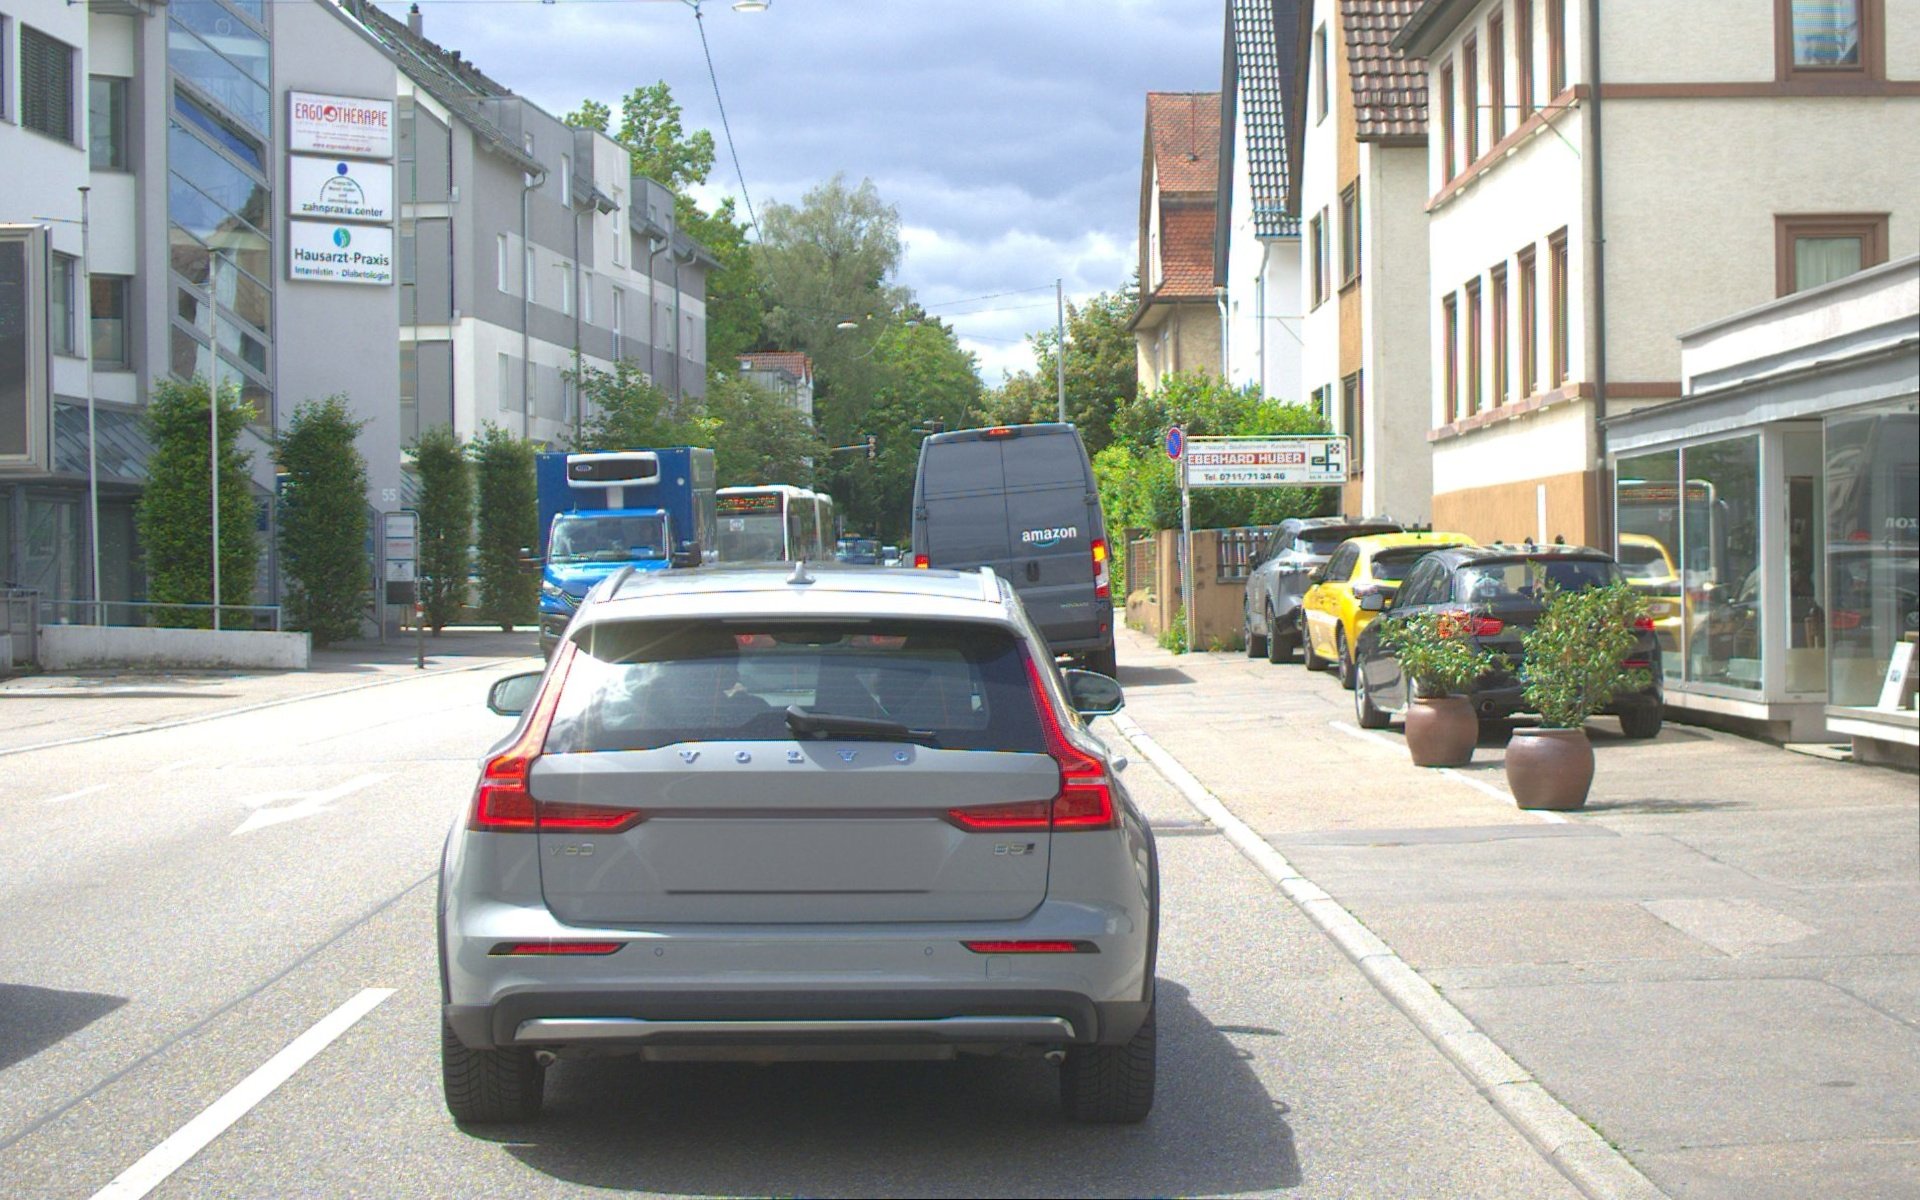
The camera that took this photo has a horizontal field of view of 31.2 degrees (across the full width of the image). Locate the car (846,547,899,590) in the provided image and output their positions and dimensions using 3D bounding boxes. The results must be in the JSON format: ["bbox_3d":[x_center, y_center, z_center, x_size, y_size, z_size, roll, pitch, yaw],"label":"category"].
[{"bbox_3d":[-3.618,-1.316,142.463,2.105,1.704,4.766,-1,1,-1],"label":"car"}]

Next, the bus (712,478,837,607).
[{"bbox_3d":[-4.761,-1.489,89.437,2.716,3.153,8.069,-1,1,0],"label":"bus"}]

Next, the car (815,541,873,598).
[{"bbox_3d":[-4.417,-1.184,131.541,2.105,2.114,4.766,1,1,-1],"label":"car"}]

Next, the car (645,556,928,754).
[{"bbox_3d":[-1.306,0.380,27.433,1.896,1.441,3.968,0,1,2],"label":"car"}]

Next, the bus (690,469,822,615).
[{"bbox_3d":[-4.659,-1.341,80.300,2.682,3.153,10.185,-1,1,-1],"label":"bus"}]

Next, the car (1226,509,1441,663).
[{"bbox_3d":[4.224,-0.191,39.540,1.860,1.606,4.586,-2,1,-1],"label":"car"}]

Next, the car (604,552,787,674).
[{"bbox_3d":[-3.279,0.131,43.254,1.896,1.441,3.968,0,1,2],"label":"car"}]

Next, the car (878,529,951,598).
[{"bbox_3d":[-1.326,-1.086,101.479,1.993,2.007,4.000,0,1,2],"label":"car"}]

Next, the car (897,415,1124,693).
[{"bbox_3d":[0.531,-0.514,37.798,2.252,2.786,5.569,-1,1,0],"label":"car"}]

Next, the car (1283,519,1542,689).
[{"bbox_3d":[4.500,-0.010,34.753,1.877,1.442,4.308,-1,3,-2],"label":"car"}]

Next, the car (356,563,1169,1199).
[{"bbox_3d":[-0.412,0.632,9.999,1.896,1.448,3.968,0,1,2],"label":"car"}]

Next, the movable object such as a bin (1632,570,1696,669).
[{"bbox_3d":[6.688,0.178,32.665,0.501,0.922,0.598,-1,1,4],"label":"movable object such as a bin"}]

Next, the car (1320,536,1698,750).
[{"bbox_3d":[4.070,0.262,26.247,1.968,1.442,4.536,-1,1,-2],"label":"car"}]

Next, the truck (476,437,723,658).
[{"bbox_3d":[-5.371,-0.801,52.643,2.853,3.082,8.089,-1,1,0],"label":"truck"}]
